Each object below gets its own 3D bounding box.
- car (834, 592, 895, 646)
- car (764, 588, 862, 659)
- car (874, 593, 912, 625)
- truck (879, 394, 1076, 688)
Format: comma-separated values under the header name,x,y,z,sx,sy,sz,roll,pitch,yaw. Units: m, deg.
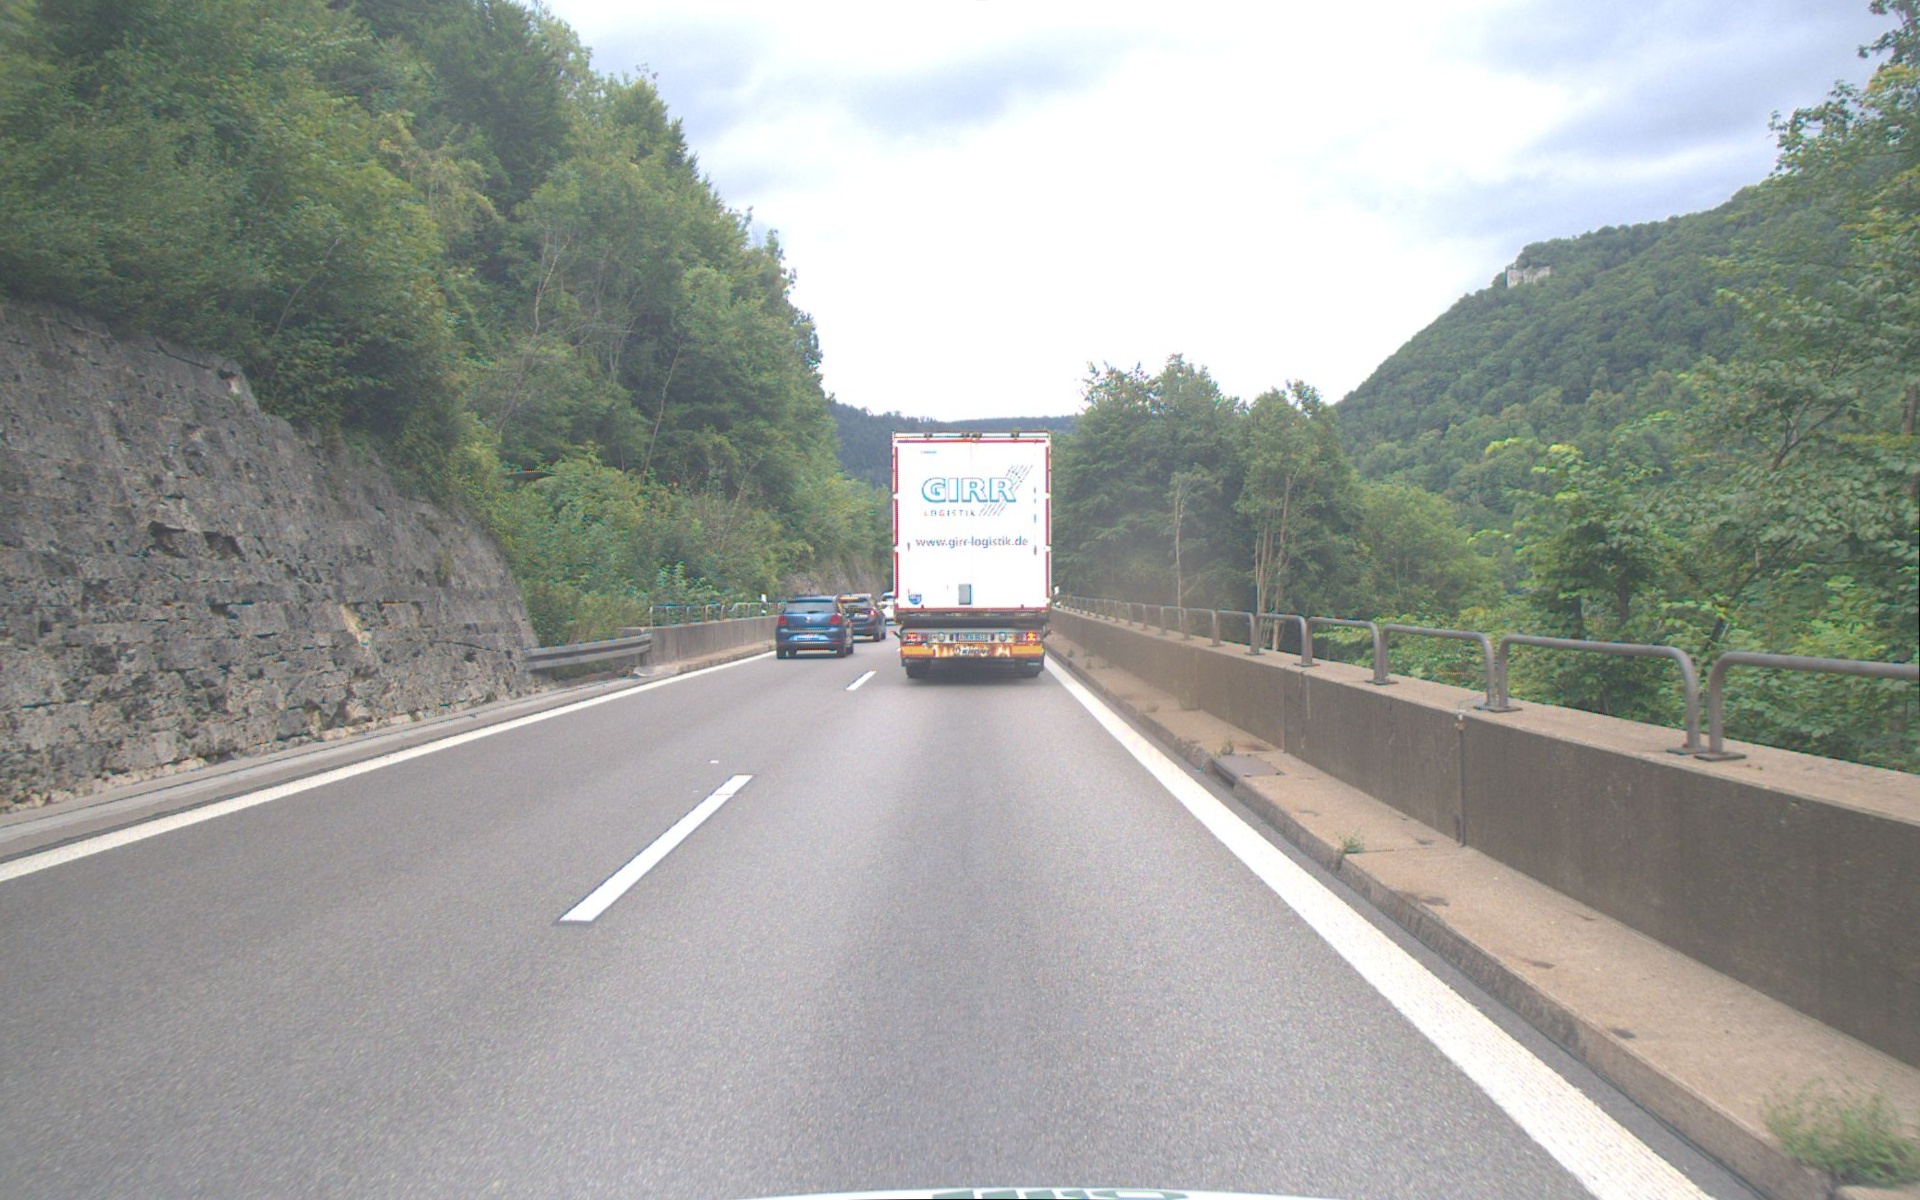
name,x,y,z,sx,sy,sz,roll,pitch,yaw
car,-2.952,0.564,51.795,1.710,1.614,3.999,0,0,-1
car,-3.489,0.524,40.014,1.952,1.624,4.354,0,0,0
car,-3.248,0.438,80.936,1.709,1.512,3.999,0,-1,-1
truck,0.331,-1.091,33.430,3.021,4.541,15.157,1,1,0
